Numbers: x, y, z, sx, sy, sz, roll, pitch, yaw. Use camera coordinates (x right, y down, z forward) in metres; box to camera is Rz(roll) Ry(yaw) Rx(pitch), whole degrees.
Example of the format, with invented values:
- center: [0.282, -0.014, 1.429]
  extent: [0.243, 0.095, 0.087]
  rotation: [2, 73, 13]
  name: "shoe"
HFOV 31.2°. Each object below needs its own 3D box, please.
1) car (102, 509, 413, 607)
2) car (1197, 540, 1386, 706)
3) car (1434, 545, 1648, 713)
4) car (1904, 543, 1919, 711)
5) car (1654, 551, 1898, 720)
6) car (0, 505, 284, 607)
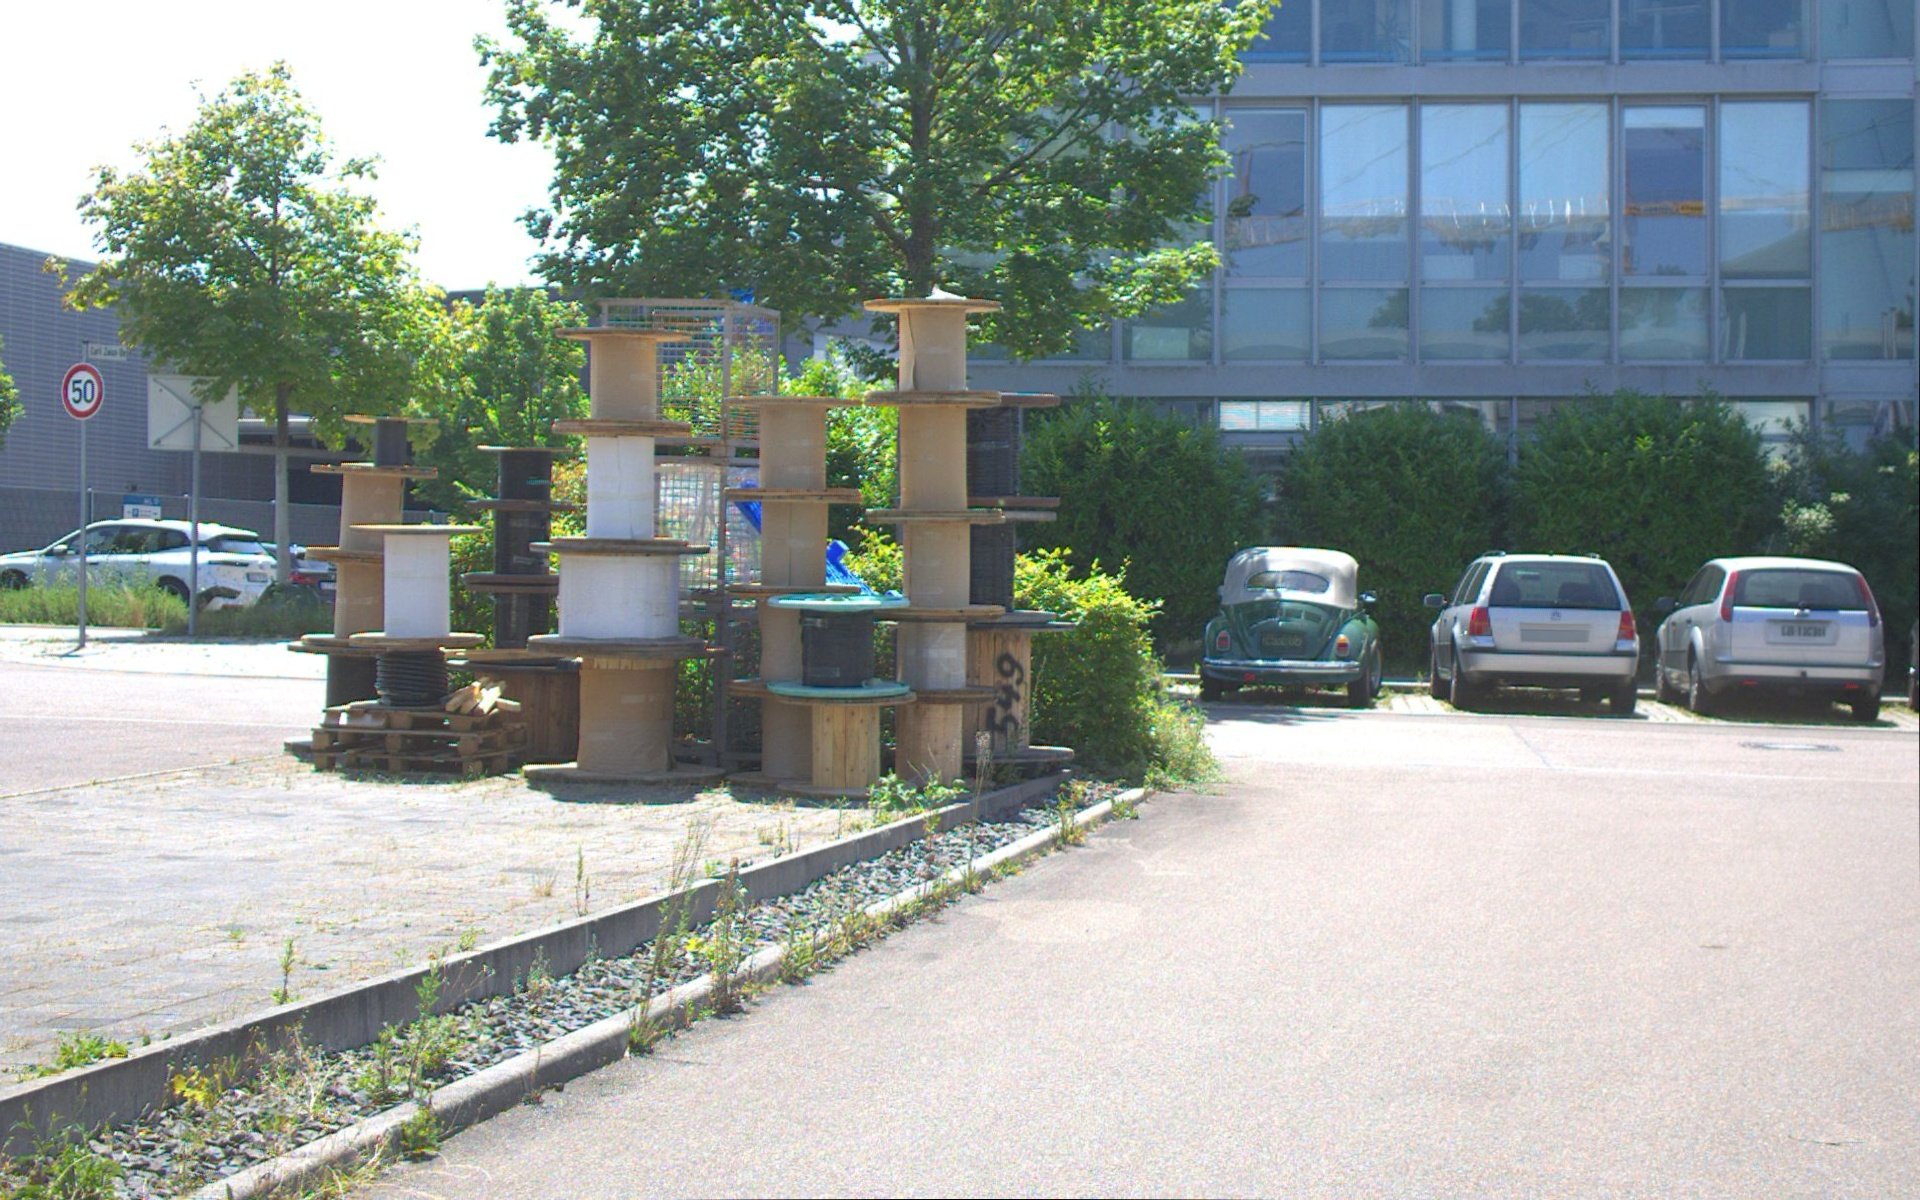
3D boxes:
- center: [-11.736, -0.725, 57.425]
  extent: [4.845, 1.486, 1.997]
  rotation: [2, 2, 25]
  name: "car"
- center: [3.248, 0.174, 33.188]
  extent: [1.542, 1.444, 3.653]
  rotation: [2, 2, 9]
  name: "car"
- center: [5.520, 0.233, 33.015]
  extent: [1.732, 1.444, 3.653]
  rotation: [2, 2, 6]
  name: "car"
- center: [10.102, 0.307, 32.342]
  extent: [1.928, 1.605, 3.985]
  rotation: [2, 2, 10]
  name: "car"
- center: [7.784, 0.294, 33.077]
  extent: [1.765, 1.444, 3.653]
  rotation: [2, 2, 6]
  name: "car"
- center: [-13.382, -0.723, 54.826]
  extent: [4.845, 1.486, 1.997]
  rotation: [2, 2, 25]
  name: "car"
